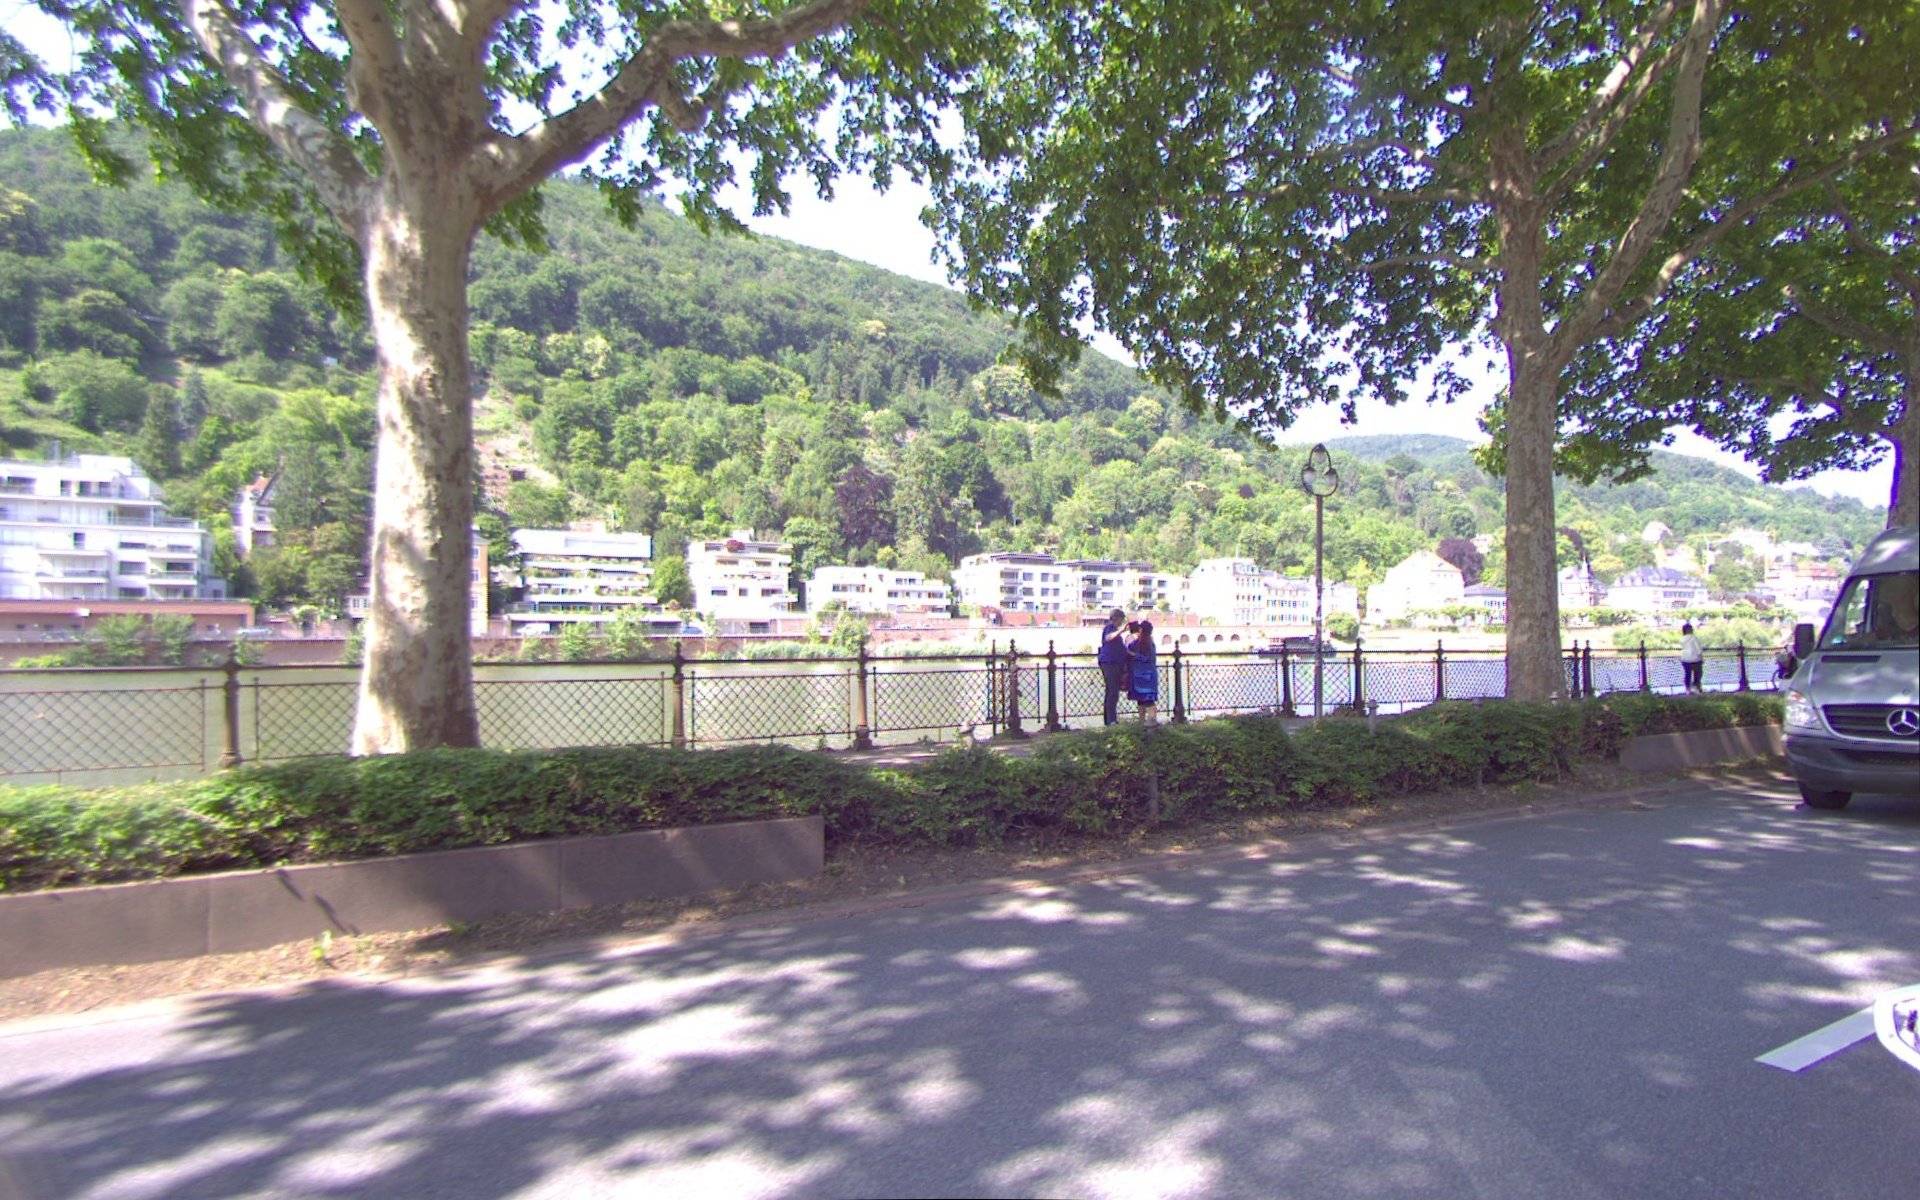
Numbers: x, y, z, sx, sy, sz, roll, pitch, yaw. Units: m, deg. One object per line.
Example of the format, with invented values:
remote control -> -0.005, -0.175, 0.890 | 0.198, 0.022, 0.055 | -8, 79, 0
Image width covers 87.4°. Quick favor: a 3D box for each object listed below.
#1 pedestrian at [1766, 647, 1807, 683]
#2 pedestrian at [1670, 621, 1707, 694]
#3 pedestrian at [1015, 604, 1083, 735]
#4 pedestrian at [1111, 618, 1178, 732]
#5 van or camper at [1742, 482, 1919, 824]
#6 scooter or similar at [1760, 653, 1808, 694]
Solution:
pedestrian -> 21.108, 1.650, 25.646 | 0.697, 0.895, 0.604 | 1, -1, -30
pedestrian -> 17.586, 1.379, 24.258 | 0.399, 1.733, 0.581 | 1, 0, -31
pedestrian -> 1.277, 0.982, 14.455 | 0.696, 1.820, 0.701 | 1, -2, -28
pedestrian -> 2.725, 1.090, 14.847 | 0.696, 1.624, 0.701 | 1, -2, -28
van or camper -> 9.739, 0.471, 9.195 | 5.771, 2.600, 1.952 | 1, -4, -30
scooter or similar -> 21.010, 1.866, 25.604 | 1.000, 0.981, 0.628 | 1, 0, -30
